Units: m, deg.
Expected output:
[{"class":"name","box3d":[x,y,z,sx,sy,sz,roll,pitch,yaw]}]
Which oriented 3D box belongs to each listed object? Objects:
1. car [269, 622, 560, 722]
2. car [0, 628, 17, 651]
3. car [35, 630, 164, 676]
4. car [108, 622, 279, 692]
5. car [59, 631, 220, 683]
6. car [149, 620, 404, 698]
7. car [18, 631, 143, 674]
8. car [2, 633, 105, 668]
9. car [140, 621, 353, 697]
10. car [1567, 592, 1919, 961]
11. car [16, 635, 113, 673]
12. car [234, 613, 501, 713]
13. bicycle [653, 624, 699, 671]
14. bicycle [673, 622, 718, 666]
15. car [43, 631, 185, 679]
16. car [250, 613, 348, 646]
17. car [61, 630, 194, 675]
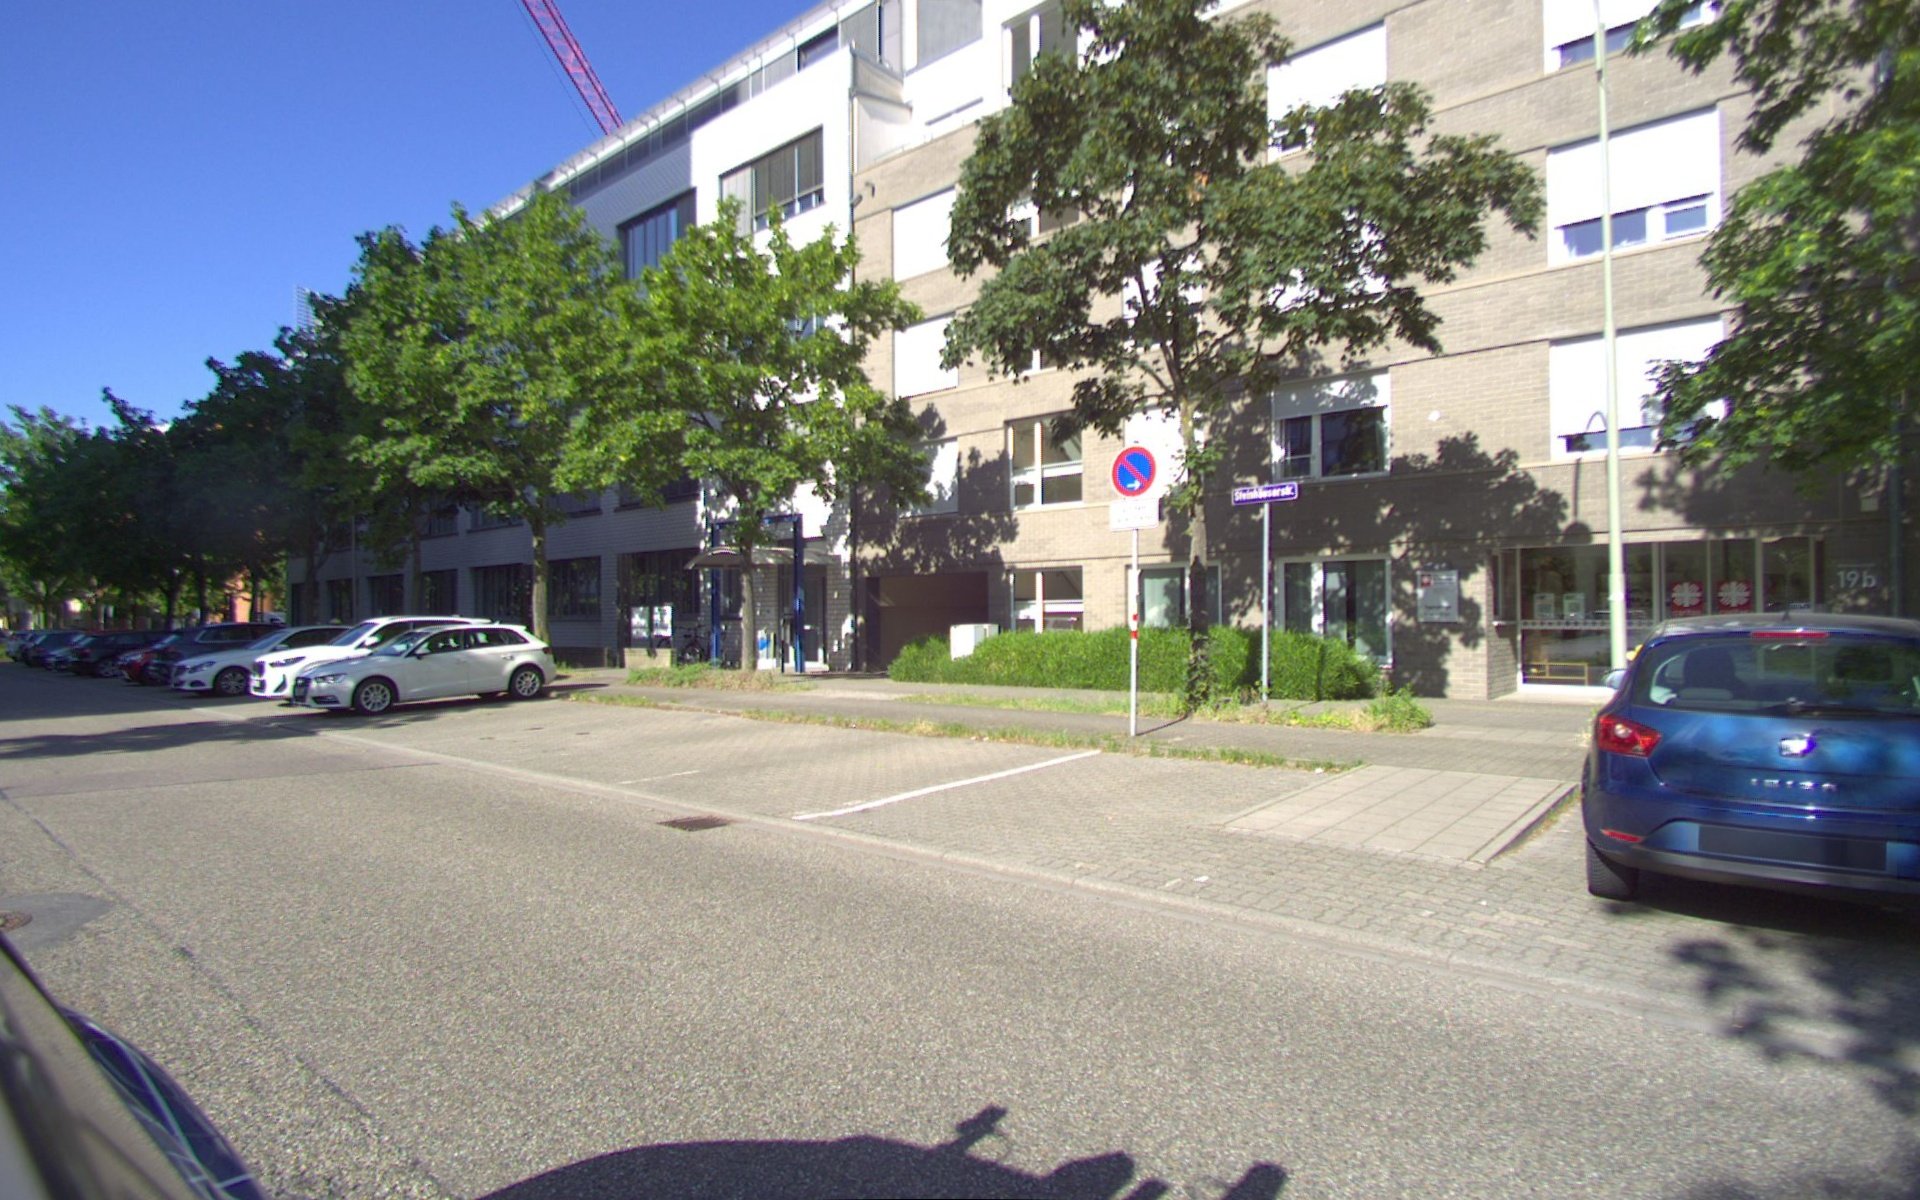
[{"class":"car","box3d":[-9.571,1.184,18.018,1.799,1.491,4.215,-2,-1,40]},{"class":"car","box3d":[-70.849,2.900,72.143,1.953,1.637,5.183,-1,-1,42]},{"class":"car","box3d":[-32.384,1.961,38.149,1.656,1.541,3.483,-1,-1,39]},{"class":"car","box3d":[-21.220,1.527,28.094,1.655,1.681,3.533,-2,0,43]},{"class":"car","box3d":[-26.587,1.822,32.871,1.686,1.424,3.784,-4,-1,39]},{"class":"car","box3d":[-15.597,1.283,23.309,1.938,1.462,4.468,-2,0,37]},{"class":"car","box3d":[-34.404,2.020,39.638,1.645,1.517,3.494,-1,-1,39]},{"class":"car","box3d":[-44.622,2.469,49.883,1.616,1.519,3.585,-1,-1,39]},{"class":"car","box3d":[-17.886,1.406,25.500,1.803,1.632,4.068,-2,0,42]},{"class":"car","box3d":[4.717,0.687,5.676,1.814,1.422,3.950,-1,0,37]},{"class":"car","box3d":[-37.711,2.261,42.658,1.389,1.454,2.895,-1,-1,40]},{"class":"car","box3d":[-11.679,1.145,20.161,1.952,1.614,4.181,-1,1,41]},{"class":"bicycle","box3d":[-7.478,1.228,26.589,1.627,1.184,0.334,-1,-1,42]},{"class":"bicycle","box3d":[-7.216,1.186,27.586,1.627,1.184,0.334,-1,-1,42]},{"class":"car","box3d":[-28.822,1.823,34.555,1.656,1.447,3.494,-1,-1,39]},{"class":"car","box3d":[-45.056,1.981,69.076,1.931,2.114,5.262,-1,-1,39]},{"class":"car","box3d":[-30.430,1.881,37.056,1.655,1.456,3.496,-1,0,37]}]
